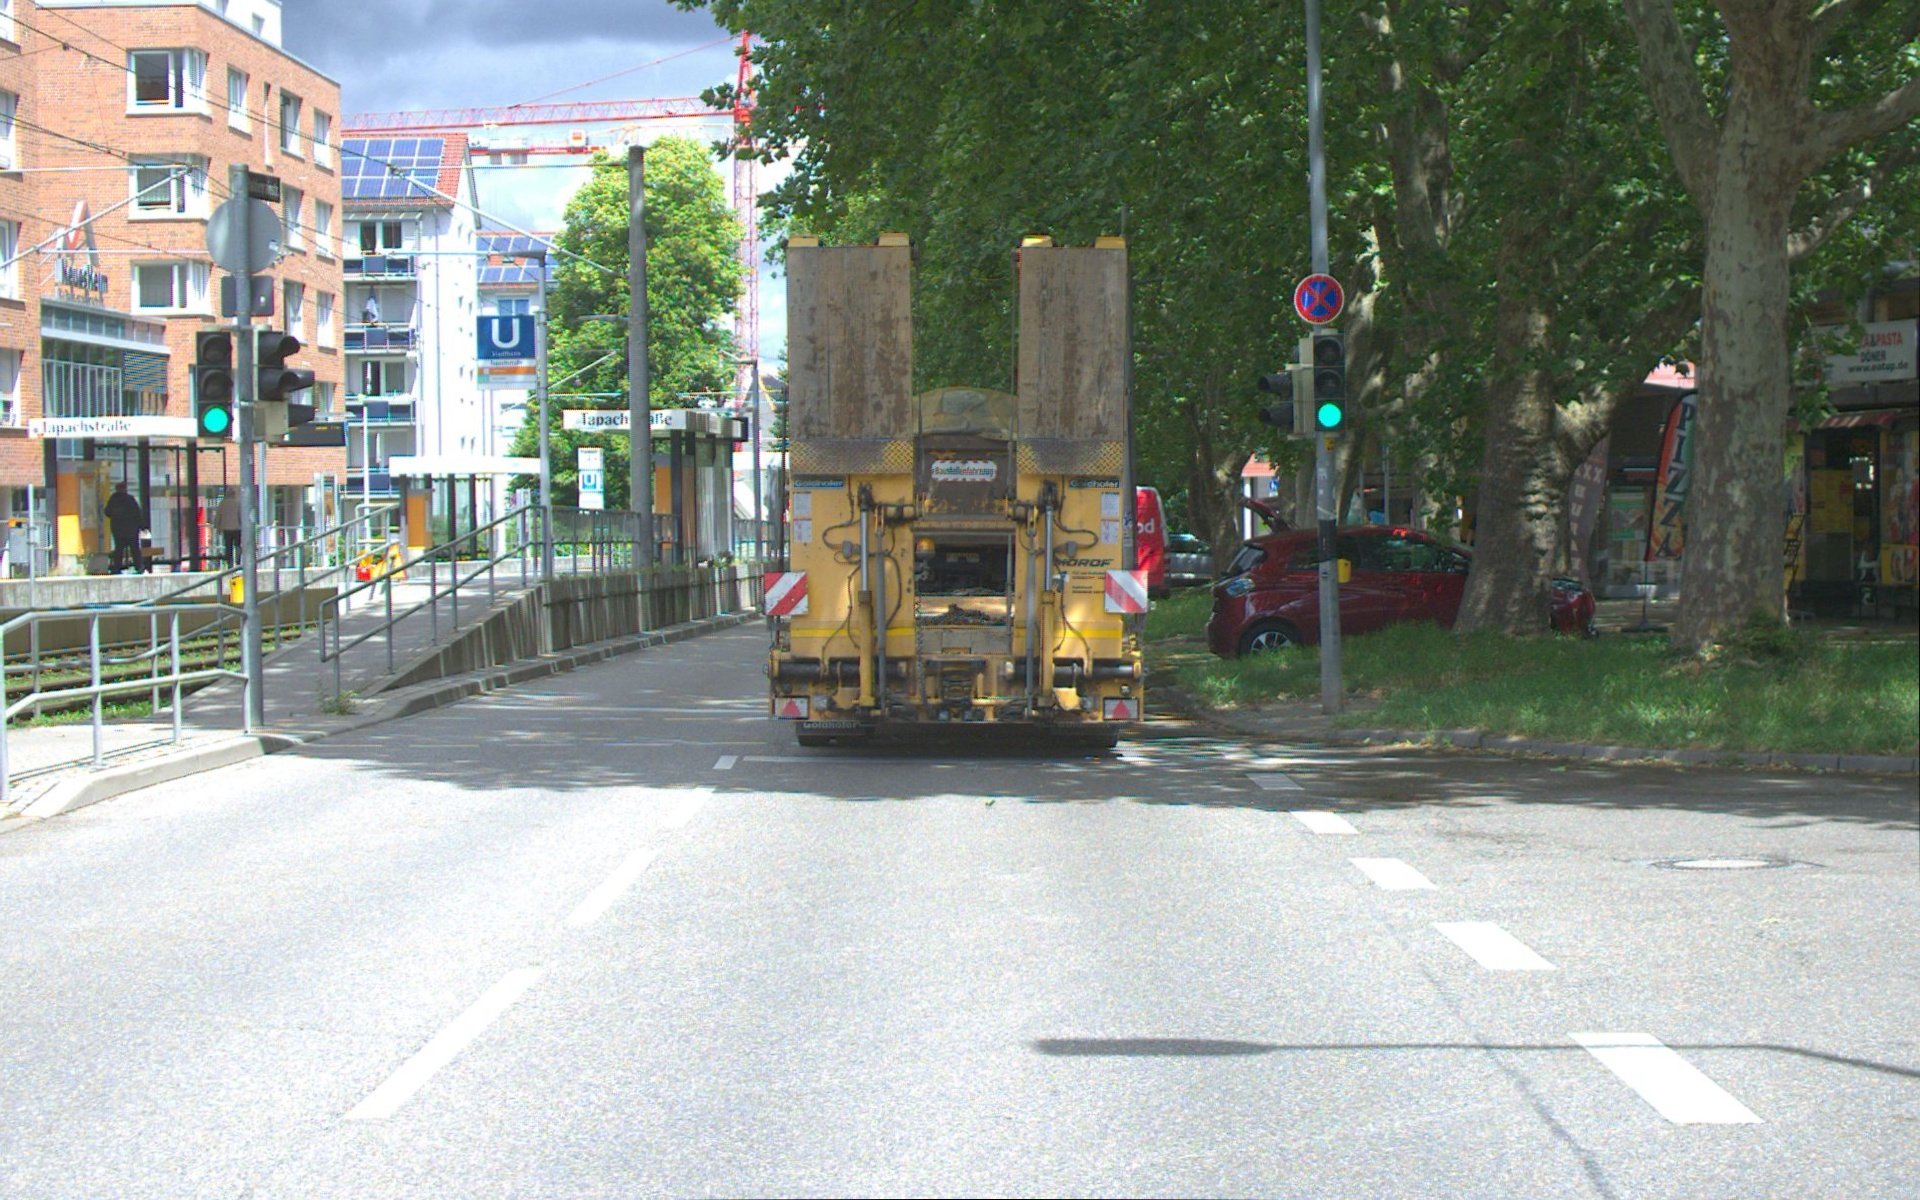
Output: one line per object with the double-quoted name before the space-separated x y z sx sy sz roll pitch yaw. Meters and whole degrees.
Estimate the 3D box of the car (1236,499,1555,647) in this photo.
"car" 5.072 -0.320 40.312 3.406 1.509 1.610 -3 1 -2

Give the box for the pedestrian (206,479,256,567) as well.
"pedestrian" -13.723 -1.449 64.744 0.751 1.623 0.816 1 1 1

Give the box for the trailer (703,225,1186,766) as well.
"trailer" -0.068 -0.780 28.277 3.154 3.540 11.097 1 1 0

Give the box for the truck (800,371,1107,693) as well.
"truck" -0.063 -0.730 37.747 2.989 3.124 7.888 1 1 0

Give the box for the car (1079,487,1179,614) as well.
"car" 3.612 -1.068 74.532 1.904 2.572 6.834 -2 1 1

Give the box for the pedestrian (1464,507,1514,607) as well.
"pedestrian" 10.141 -0.824 65.938 0.743 1.877 0.941 -2 0 1

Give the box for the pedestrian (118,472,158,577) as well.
"pedestrian" -13.886 -1.275 58.078 0.534 1.757 0.528 -1 1 -1

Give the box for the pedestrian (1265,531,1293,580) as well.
"pedestrian" 9.056 -1.269 97.538 0.694 1.387 0.512 -1 1 -2

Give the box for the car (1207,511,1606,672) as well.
"car" 4.615 -0.101 35.966 4.030 1.606 1.730 -1 1 4

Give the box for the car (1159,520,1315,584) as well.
"car" 7.246 -1.251 90.039 3.829 1.557 1.620 -2 1 -5
